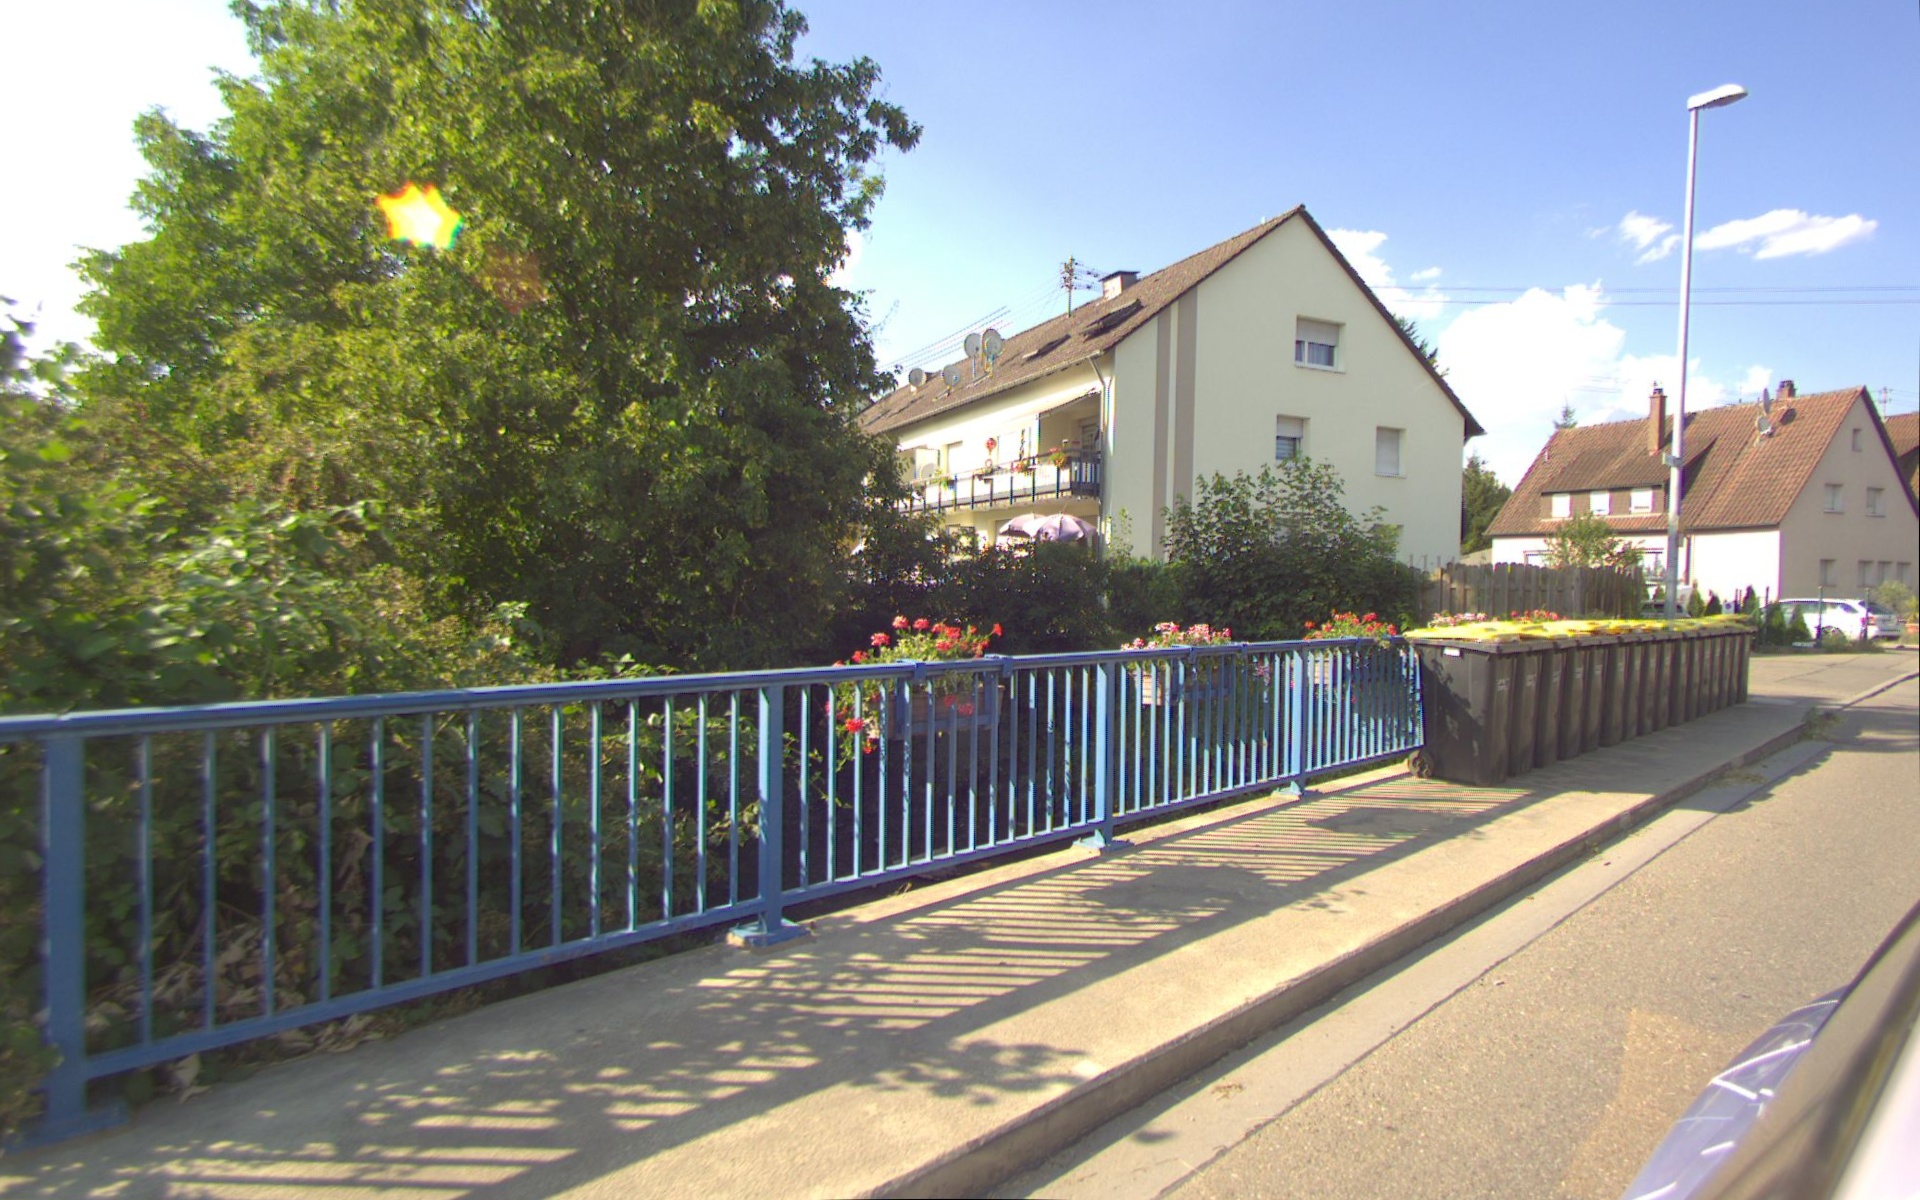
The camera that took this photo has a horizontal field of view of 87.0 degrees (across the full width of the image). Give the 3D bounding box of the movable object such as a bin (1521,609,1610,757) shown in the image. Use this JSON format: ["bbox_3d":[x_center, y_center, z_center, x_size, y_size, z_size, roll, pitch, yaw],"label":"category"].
[{"bbox_3d":[5.047,0.669,8.433,0.529,1.157,0.479,0,2,-43],"label":"movable object such as a bin"}]

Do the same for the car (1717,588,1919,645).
[{"bbox_3d":[25.551,0.427,30.215,1.695,1.476,4.488,0,2,-23],"label":"car"}]

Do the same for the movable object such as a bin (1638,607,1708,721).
[{"bbox_3d":[7.623,0.665,10.821,0.529,1.157,0.479,0,2,-43],"label":"movable object such as a bin"}]

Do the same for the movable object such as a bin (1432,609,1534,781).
[{"bbox_3d":[3.770,0.654,7.294,0.529,1.157,0.479,0,2,-43],"label":"movable object such as a bin"}]

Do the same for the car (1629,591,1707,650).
[{"bbox_3d":[20.448,0.544,29.290,1.688,1.538,4.224,-2,0,35],"label":"car"}]

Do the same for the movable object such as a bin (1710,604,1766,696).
[{"bbox_3d":[10.176,0.637,13.236,0.529,1.157,0.479,0,2,-43],"label":"movable object such as a bin"}]

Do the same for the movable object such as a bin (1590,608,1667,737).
[{"bbox_3d":[6.381,0.669,9.662,0.529,1.157,0.479,0,2,-43],"label":"movable object such as a bin"}]

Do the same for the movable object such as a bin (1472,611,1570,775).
[{"bbox_3d":[4.238,0.674,7.645,0.529,1.157,0.479,0,2,-43],"label":"movable object such as a bin"}]

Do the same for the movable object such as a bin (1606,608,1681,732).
[{"bbox_3d":[6.794,0.673,10.056,0.555,1.157,0.479,0,2,-43],"label":"movable object such as a bin"}]

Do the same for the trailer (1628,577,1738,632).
[{"bbox_3d":[24.873,0.153,34.809,3.149,1.774,1.529,1,1,-20],"label":"trailer"}]

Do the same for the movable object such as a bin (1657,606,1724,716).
[{"bbox_3d":[8.125,0.661,11.251,0.529,1.157,0.479,0,2,-43],"label":"movable object such as a bin"}]

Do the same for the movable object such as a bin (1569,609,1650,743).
[{"bbox_3d":[5.933,0.671,9.247,0.529,1.157,0.479,0,2,-43],"label":"movable object such as a bin"}]

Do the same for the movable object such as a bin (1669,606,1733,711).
[{"bbox_3d":[8.545,0.655,11.673,0.529,1.157,0.479,0,2,-43],"label":"movable object such as a bin"}]

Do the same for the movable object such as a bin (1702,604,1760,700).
[{"bbox_3d":[9.796,0.642,12.862,0.529,1.157,0.479,0,2,-43],"label":"movable object such as a bin"}]

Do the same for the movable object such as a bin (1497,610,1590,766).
[{"bbox_3d":[4.635,0.669,8.035,0.529,1.157,0.479,0,2,-43],"label":"movable object such as a bin"}]

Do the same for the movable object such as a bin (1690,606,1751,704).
[{"bbox_3d":[9.380,0.660,12.482,0.533,1.157,0.479,0,2,-43],"label":"movable object such as a bin"}]

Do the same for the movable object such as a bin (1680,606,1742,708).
[{"bbox_3d":[8.951,0.664,12.065,0.529,1.157,0.479,0,2,-43],"label":"movable object such as a bin"}]

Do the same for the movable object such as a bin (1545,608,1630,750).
[{"bbox_3d":[5.470,0.665,8.823,0.529,1.157,0.479,0,2,-43],"label":"movable object such as a bin"}]

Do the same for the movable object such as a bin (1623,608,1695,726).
[{"bbox_3d":[7.214,0.669,10.442,0.529,1.157,0.479,0,2,-43],"label":"movable object such as a bin"}]
